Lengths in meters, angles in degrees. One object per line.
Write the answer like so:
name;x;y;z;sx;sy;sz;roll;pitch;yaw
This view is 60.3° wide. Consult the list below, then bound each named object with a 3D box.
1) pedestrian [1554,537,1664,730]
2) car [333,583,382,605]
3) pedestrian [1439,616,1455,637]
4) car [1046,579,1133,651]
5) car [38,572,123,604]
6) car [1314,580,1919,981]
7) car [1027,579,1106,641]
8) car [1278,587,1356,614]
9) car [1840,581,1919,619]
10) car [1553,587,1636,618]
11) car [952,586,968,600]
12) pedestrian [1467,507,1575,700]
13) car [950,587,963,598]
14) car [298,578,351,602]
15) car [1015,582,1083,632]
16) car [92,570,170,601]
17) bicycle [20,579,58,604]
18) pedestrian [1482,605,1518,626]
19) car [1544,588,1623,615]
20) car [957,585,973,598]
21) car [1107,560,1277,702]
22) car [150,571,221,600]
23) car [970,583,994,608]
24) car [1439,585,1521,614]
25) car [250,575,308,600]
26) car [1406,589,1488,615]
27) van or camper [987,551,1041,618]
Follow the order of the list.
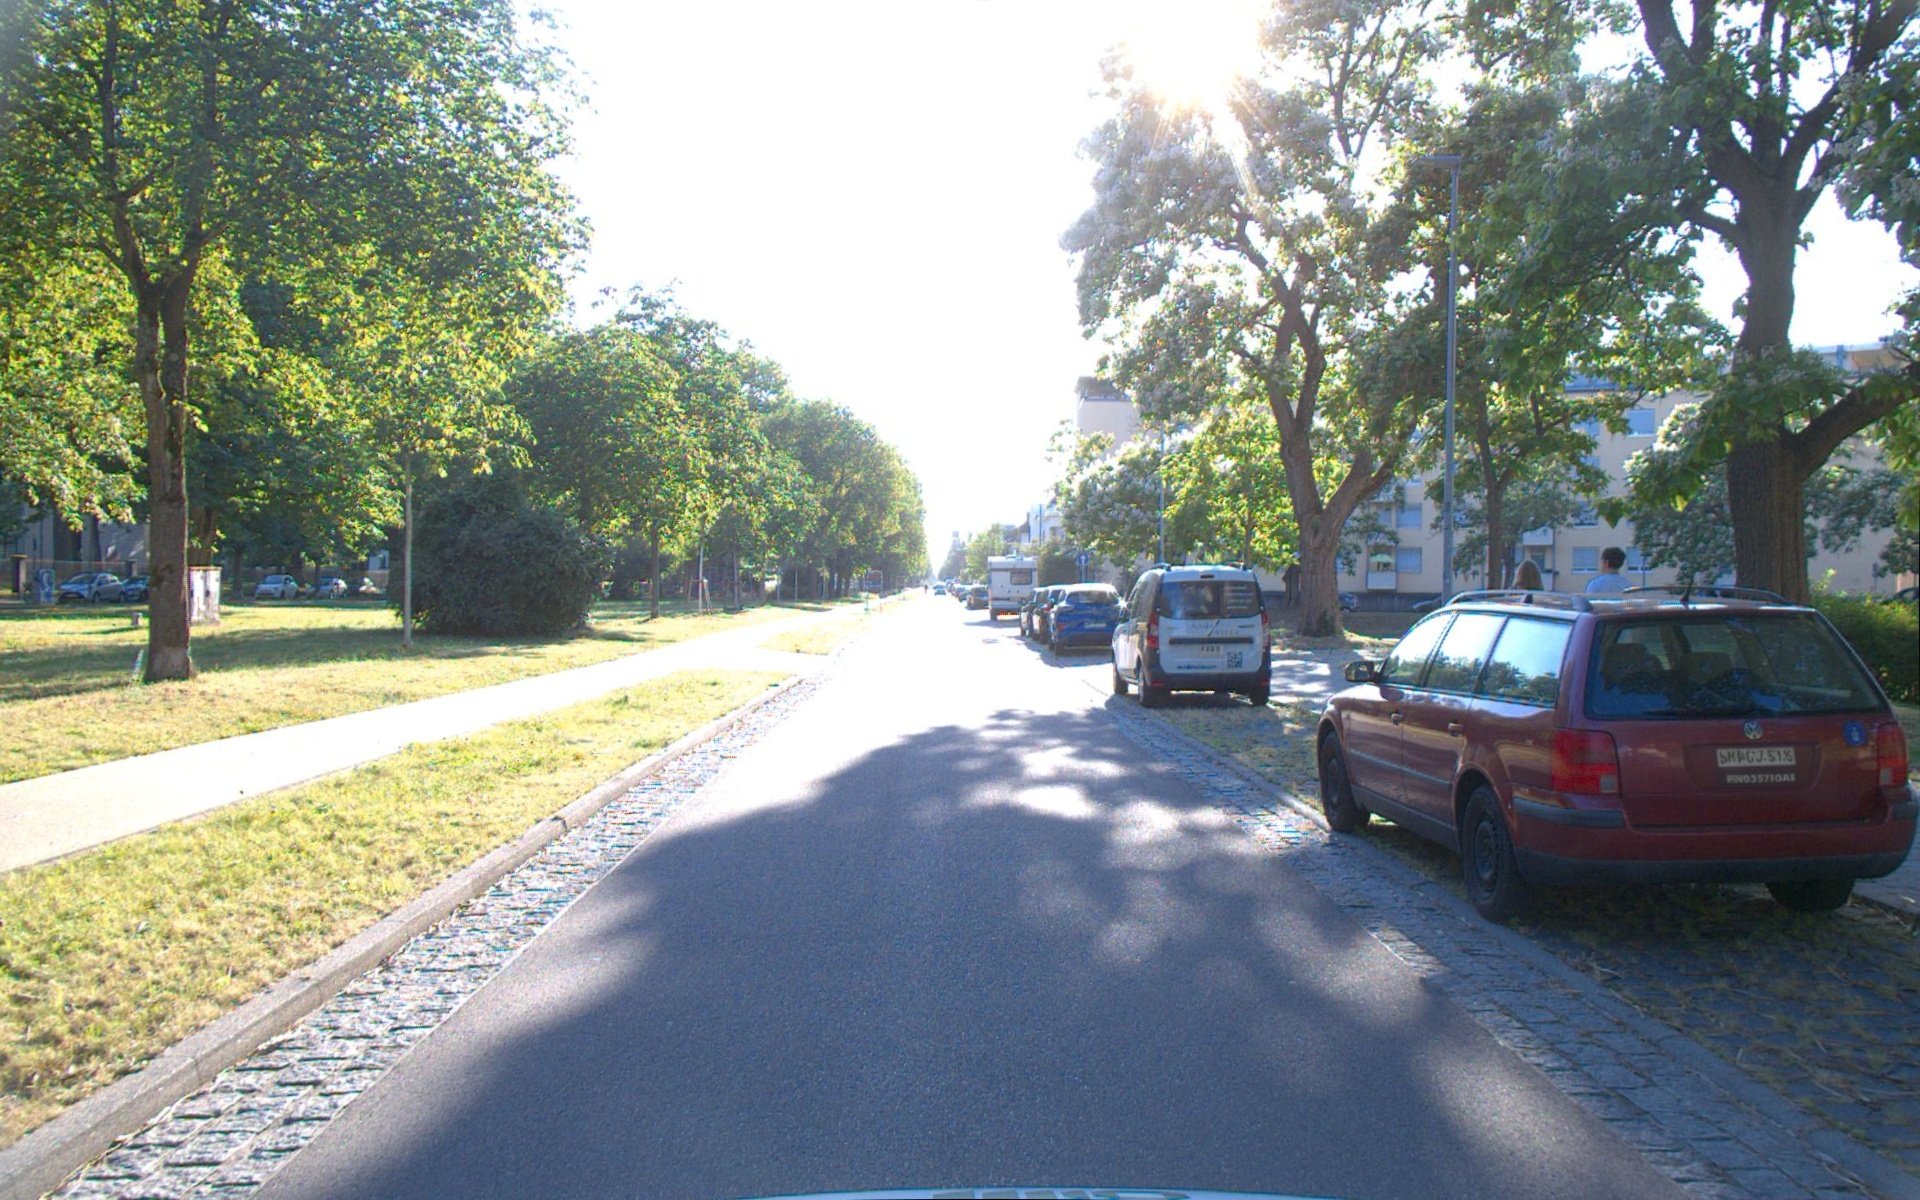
pedestrian;6.112;0.307;15.612;0.710;1.766;0.731;1;0;0
car;-42.837;-0.395;117.615;1.953;1.534;4.115;0;0;0
pedestrian;19.983;1.095;67.868;0.463;0.827;0.612;1;0;0
car;2.951;0.330;38.363;1.696;1.578;4.275;0;0;0
car;-42.425;-0.567;79.852;1.953;1.534;4.000;0;0;0
car;3.235;0.674;8.678;1.644;1.512;4.808;0;0;-1
car;2.829;0.246;44.614;1.697;1.578;4.421;0;0;-2
car;19.572;0.016;90.617;4.106;1.488;1.694;0;0;15
car;44.137;0.000;77.901;4.447;1.776;1.868;0;0;43
car;32.870;0.134;85.702;3.909;1.579;1.609;0;0;27
car;0.023;-0.726;170.802;1.593;1.434;4.248;0;0;-1
pedestrian;5.281;0.028;15.597;0.738;1.766;0.731;1;0;0
car;-0.508;-1.045;218.543;1.593;1.434;4.248;0;0;-1
car;-42.557;-0.662;110.817;1.953;1.534;4.115;0;0;0
car;2.718;0.200;51.196;1.594;1.489;4.246;0;0;-4
car;-42.488;-0.727;84.871;1.953;1.534;4.000;0;0;0
bicycle;-44.010;-0.400;79.039;0.644;1.196;2.332;0;0;-3
pedestrian;21.812;0.630;66.845;0.570;0.827;1.238;1;1;-45
car;34.501;0.095;91.563;3.910;1.478;1.878;0;0;28
car;0.534;-0.940;182.085;1.593;1.434;4.248;0;0;-1
car;3.104;0.382;22.945;1.644;1.770;4.513;0;0;-1
car;-42.411;-0.777;90.676;1.953;1.534;4.115;0;0;0
car;1.533;-0.311;117.185;1.593;1.698;4.248;0;0;-1
car;29.583;-0.018;94.137;4.416;1.597;1.881;0;0;18
car;-42.492;-0.777;103.266;1.953;1.534;4.115;0;0;0
car;26.163;0.118;88.827;4.108;1.381;1.693;0;0;20
van or camper;2.441;-0.636;75.919;2.189;2.955;5.671;0;-1;-1
